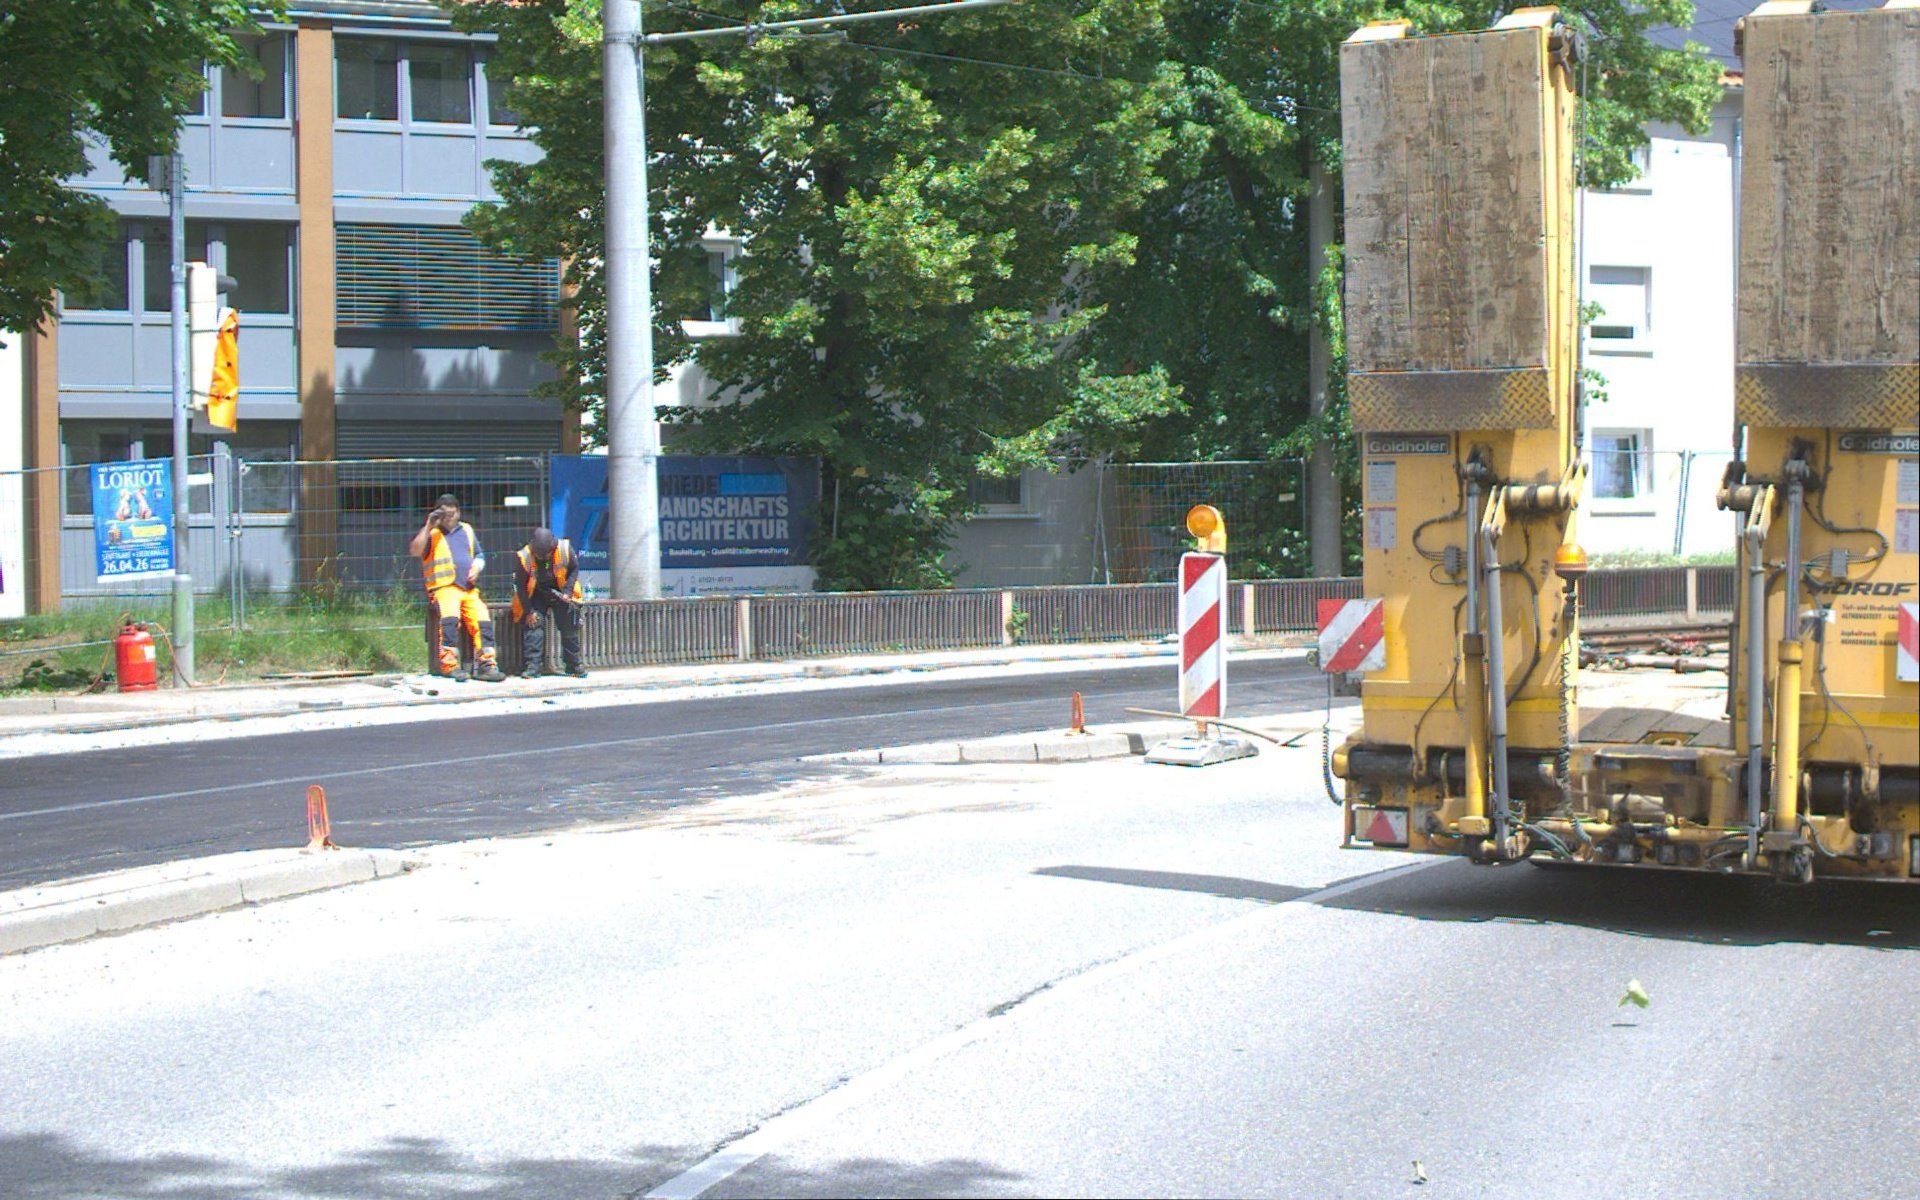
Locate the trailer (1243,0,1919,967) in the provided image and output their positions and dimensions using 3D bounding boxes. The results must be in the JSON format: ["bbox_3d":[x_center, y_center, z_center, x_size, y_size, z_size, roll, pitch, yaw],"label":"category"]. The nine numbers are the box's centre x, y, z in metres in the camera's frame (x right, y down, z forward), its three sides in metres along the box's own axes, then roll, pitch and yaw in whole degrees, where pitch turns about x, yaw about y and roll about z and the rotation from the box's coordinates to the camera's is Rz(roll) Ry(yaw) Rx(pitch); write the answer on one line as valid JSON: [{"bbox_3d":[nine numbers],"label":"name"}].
[{"bbox_3d":[5.059,-0.603,17.512,2.827,3.512,11.034,3,2,29],"label":"trailer"}]

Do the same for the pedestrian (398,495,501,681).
[{"bbox_3d":[-4.303,-0.107,28.927,0.759,1.535,0.798,-1,1,-14],"label":"pedestrian"}]

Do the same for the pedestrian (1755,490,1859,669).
[{"bbox_3d":[8.001,-0.190,32.453,0.706,1.662,0.826,1,0,32],"label":"pedestrian"}]

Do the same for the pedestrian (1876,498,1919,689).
[{"bbox_3d":[7.986,-0.061,28.427,0.763,1.546,0.900,1,2,14],"label":"pedestrian"}]

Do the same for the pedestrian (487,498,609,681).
[{"bbox_3d":[-3.521,-0.096,29.343,0.904,1.527,0.842,-1,1,-14],"label":"pedestrian"}]
